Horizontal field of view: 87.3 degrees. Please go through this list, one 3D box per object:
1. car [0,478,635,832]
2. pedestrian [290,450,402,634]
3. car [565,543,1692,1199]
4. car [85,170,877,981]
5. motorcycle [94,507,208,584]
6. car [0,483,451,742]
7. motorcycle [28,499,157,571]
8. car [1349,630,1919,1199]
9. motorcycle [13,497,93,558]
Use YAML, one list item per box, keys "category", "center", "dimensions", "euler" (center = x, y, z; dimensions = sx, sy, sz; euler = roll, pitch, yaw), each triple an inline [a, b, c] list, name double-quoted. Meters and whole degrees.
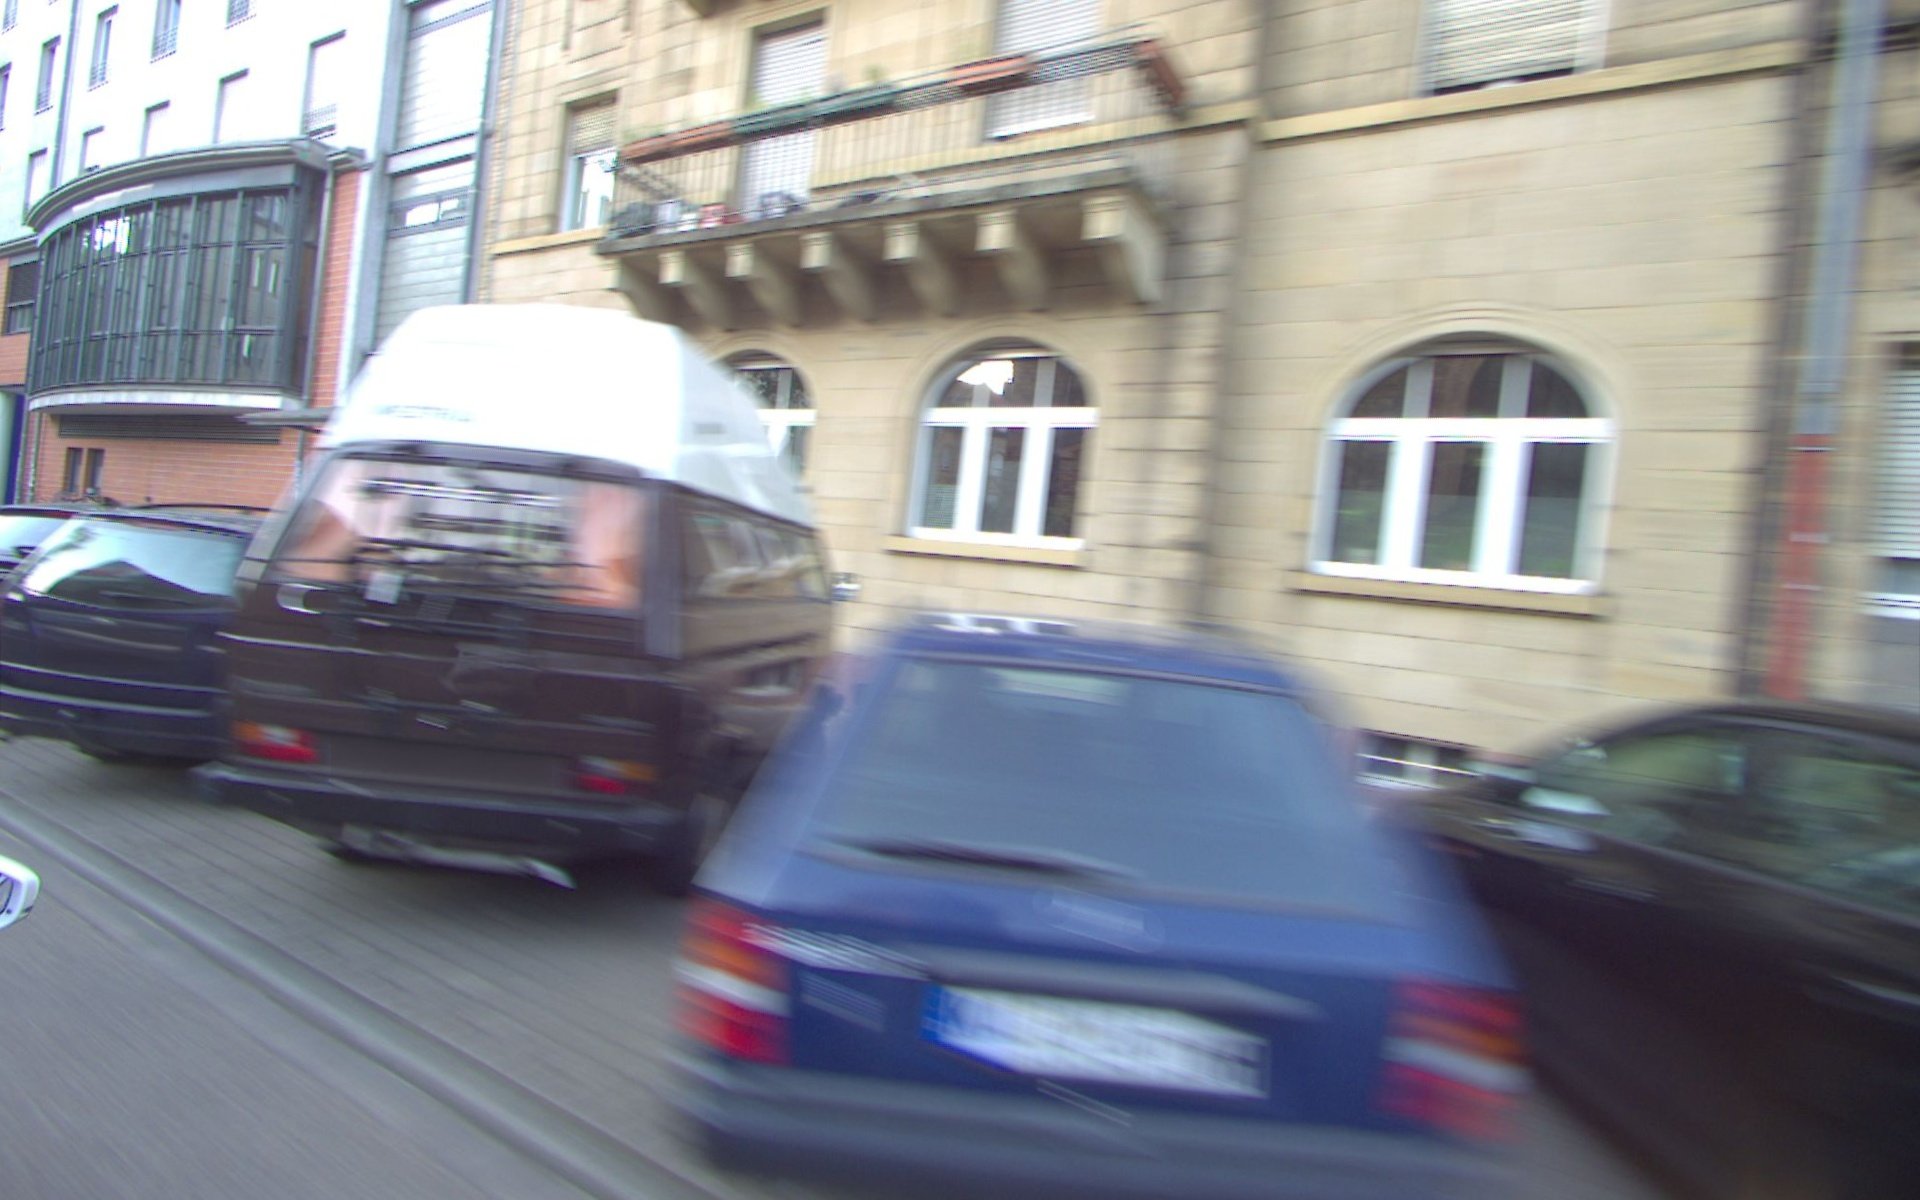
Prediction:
- category: "car"
  center: [-4.094, 0.278, 6.967]
  dimensions: [1.877, 1.520, 4.359]
  euler: [7, -1, 4]
- category: "pedestrian"
  center: [-7.236, -0.680, 11.852]
  dimensions: [0.844, 2.037, 0.608]
  euler: [7, 0, 33]
- category: "car"
  center: [0.310, 0.705, 3.927]
  dimensions: [1.809, 1.506, 4.395]
  euler: [6, 1, 2]
- category: "car"
  center: [-1.850, -0.038, 5.793]
  dimensions: [1.882, 2.577, 4.728]
  euler: [6, -1, 3]
- category: "motorcycle"
  center: [-14.614, -0.999, 18.139]
  dimensions: [2.399, 1.154, 0.800]
  euler: [7, 2, 31]
- category: "car"
  center: [-6.104, 0.047, 8.146]
  dimensions: [1.692, 1.510, 4.071]
  euler: [7, -1, 1]
- category: "motorcycle"
  center: [-17.093, -1.286, 19.824]
  dimensions: [2.371, 1.154, 0.777]
  euler: [6, 1, 19]
- category: "car"
  center: [2.696, 0.976, 2.806]
  dimensions: [1.761, 1.565, 4.122]
  euler: [4, 0, 4]
- category: "motorcycle"
  center: [-19.061, -1.529, 21.128]
  dimensions: [2.048, 1.118, 0.588]
  euler: [6, 3, 29]
